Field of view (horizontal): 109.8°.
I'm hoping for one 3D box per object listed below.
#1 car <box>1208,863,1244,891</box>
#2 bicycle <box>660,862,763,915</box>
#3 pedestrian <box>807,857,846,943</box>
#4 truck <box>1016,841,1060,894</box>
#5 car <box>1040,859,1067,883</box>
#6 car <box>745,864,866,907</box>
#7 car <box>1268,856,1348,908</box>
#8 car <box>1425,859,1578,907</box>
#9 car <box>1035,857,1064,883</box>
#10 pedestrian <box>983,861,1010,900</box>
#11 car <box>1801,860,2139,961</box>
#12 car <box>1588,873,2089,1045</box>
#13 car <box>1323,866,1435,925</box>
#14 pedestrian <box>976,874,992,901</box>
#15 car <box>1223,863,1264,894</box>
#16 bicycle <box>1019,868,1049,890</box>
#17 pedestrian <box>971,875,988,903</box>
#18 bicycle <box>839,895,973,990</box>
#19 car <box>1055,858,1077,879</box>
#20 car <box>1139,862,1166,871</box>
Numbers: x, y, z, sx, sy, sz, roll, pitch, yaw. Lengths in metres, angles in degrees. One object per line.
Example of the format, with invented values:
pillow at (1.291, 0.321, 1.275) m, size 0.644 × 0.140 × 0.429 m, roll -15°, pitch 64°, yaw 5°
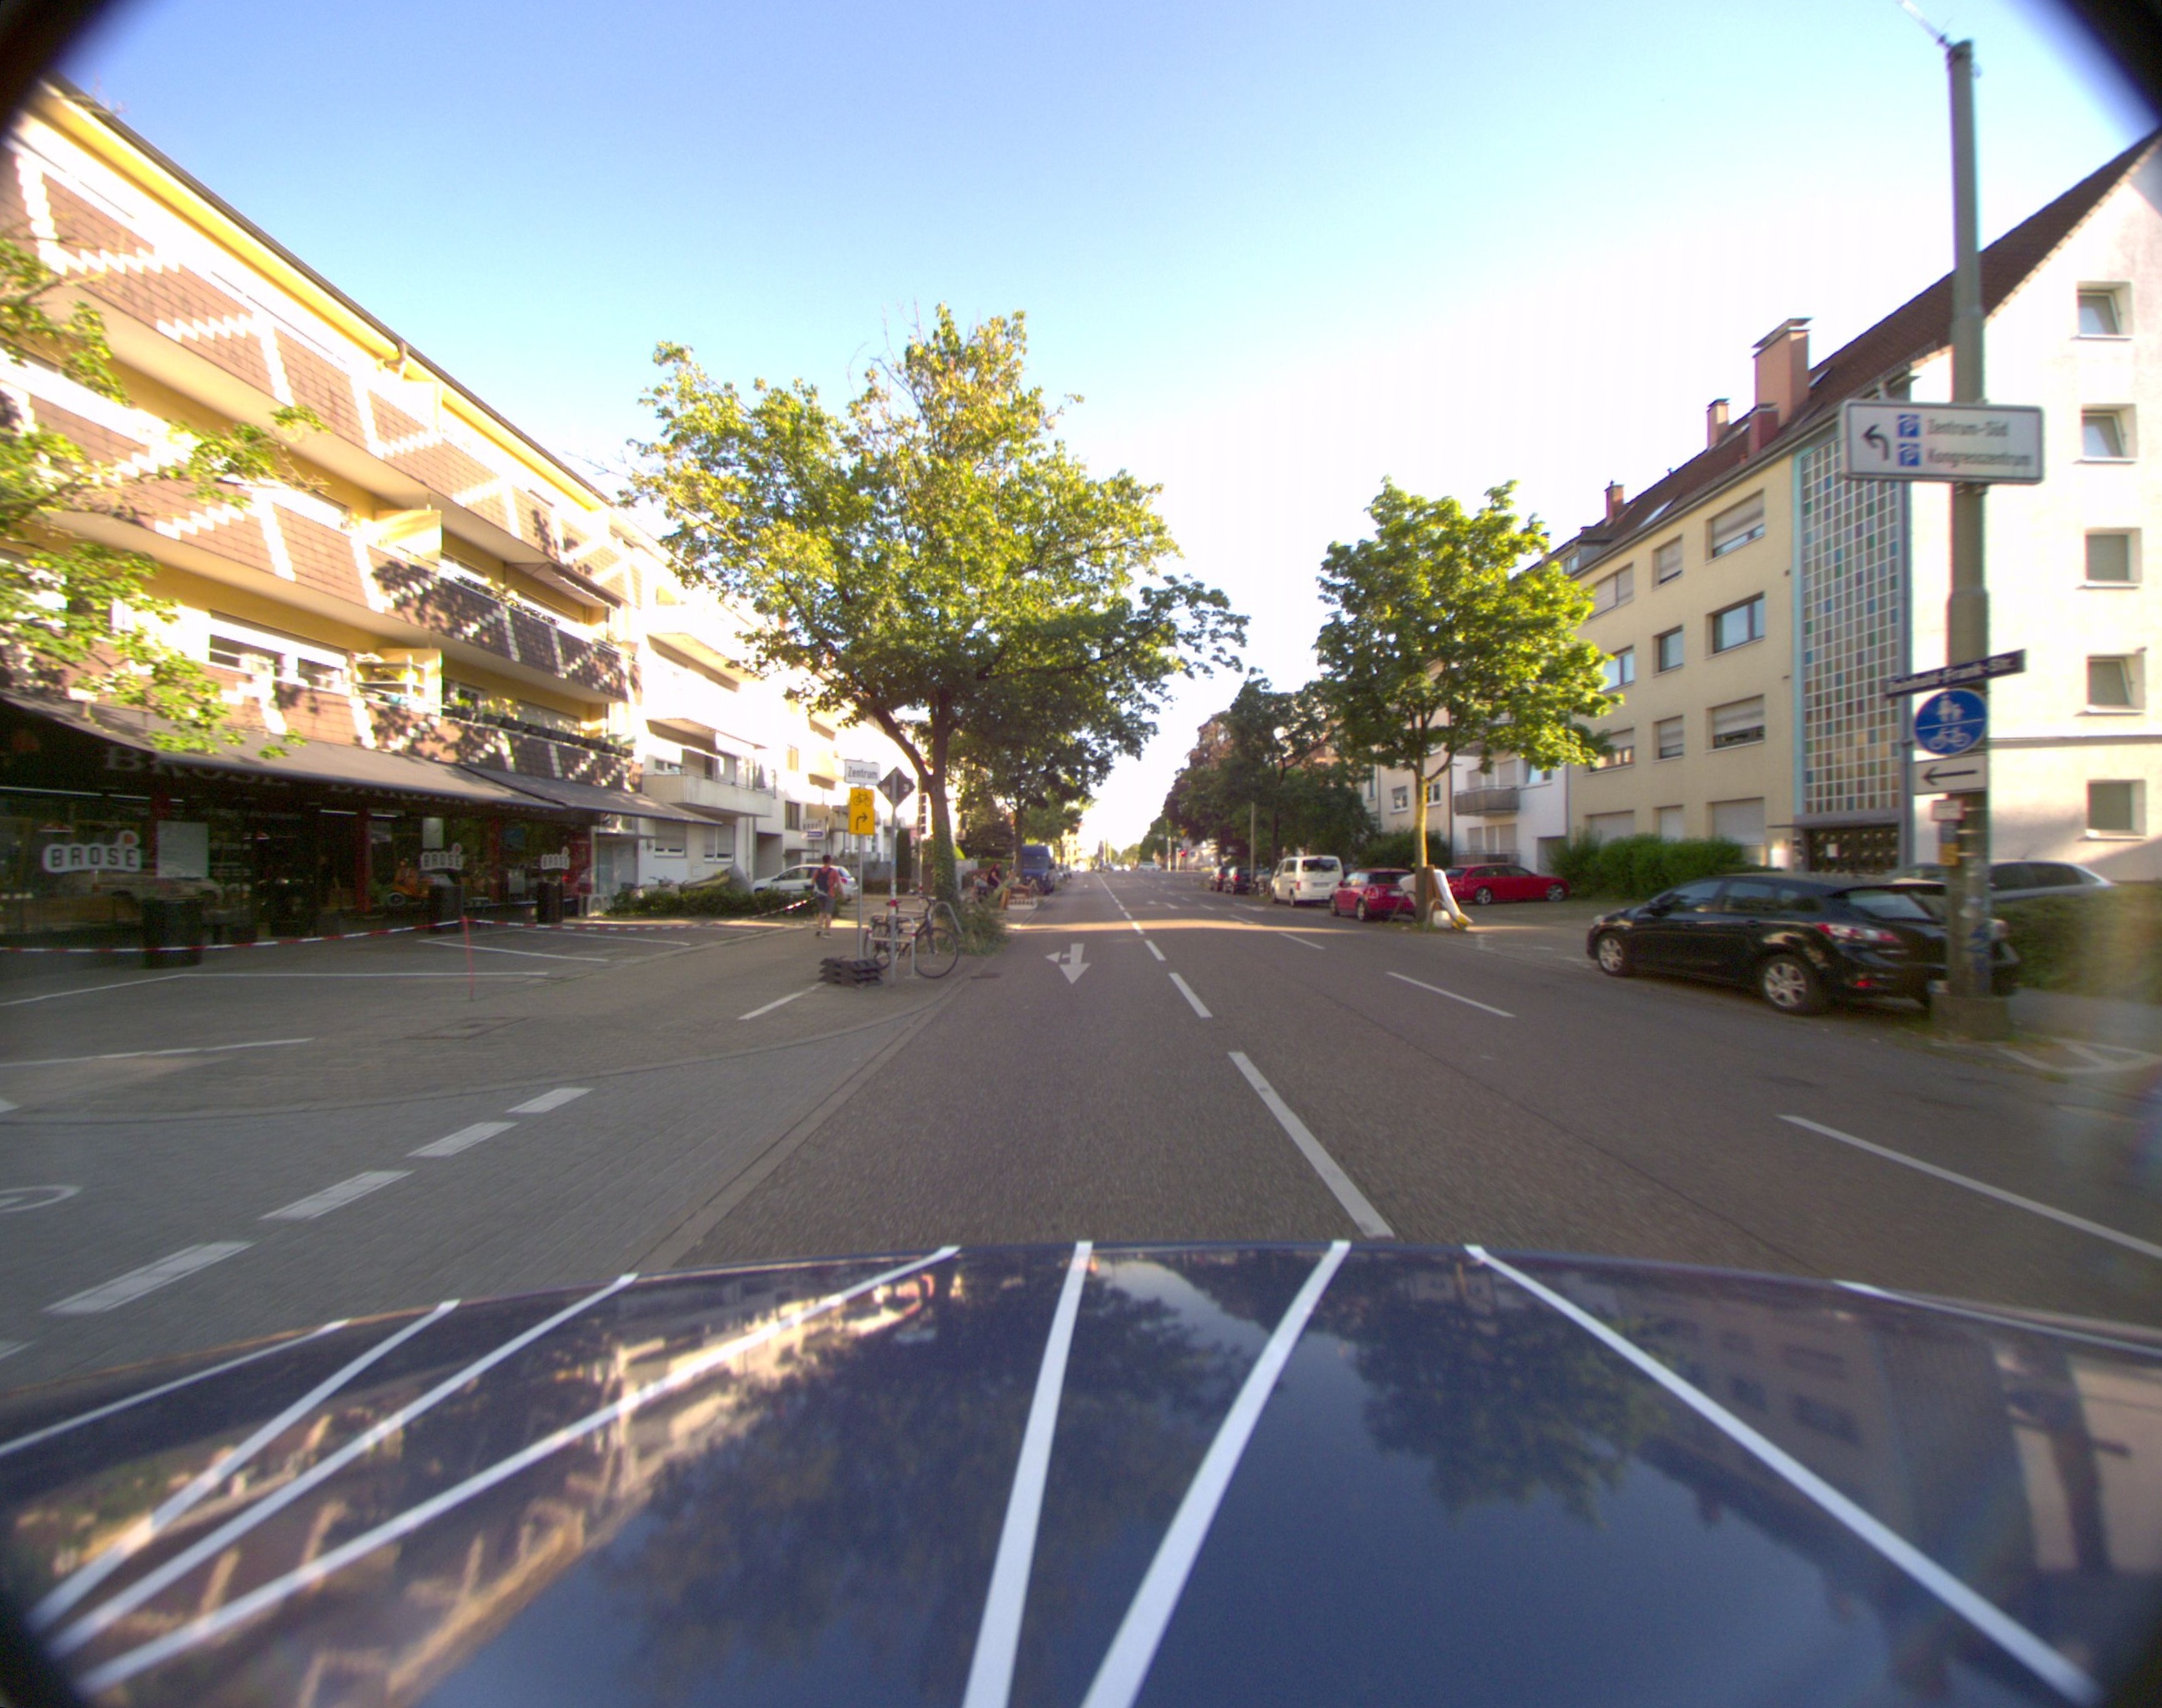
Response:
car at (8.264, 1.269, 43.613) m, size 1.407 × 1.456 × 3.683 m, roll -2°, pitch 0°, yaw 2°
bicycle at (-10.557, 0.973, 21.767) m, size 2.459 × 1.433 × 0.928 m, roll -1°, pitch 0°, yaw -1°
pedestrian at (-5.305, 0.954, 15.869) m, size 0.619 × 1.761 × 0.562 m, roll 0°, pitch -1°, yaw 1°
truck at (-2.227, 0.685, 40.754) m, size 1.998 × 2.629 × 5.616 m, roll -1°, pitch 0°, yaw 1°
car at (-2.020, 1.235, 56.982) m, size 1.704 × 1.739 × 4.000 m, roll 0°, pitch 0°, yaw 2°
car at (-10.054, 1.137, 27.904) m, size 3.878 × 1.496 × 1.575 m, roll 0°, pitch 0°, yaw -4°
car at (8.345, 0.980, 28.319) m, size 1.740 × 1.799 × 4.192 m, roll -1°, pitch 0°, yaw 1°
car at (14.667, 0.967, 26.579) m, size 4.563 × 1.397 × 1.740 m, roll -2°, pitch 0°, yaw -9°
car at (-2.144, 1.082, 52.400) m, size 1.704 × 1.739 × 4.000 m, roll 0°, pitch 0°, yaw 2°
pedestrian at (-3.118, 0.977, 28.153) m, size 0.917 × 1.435 × 0.811 m, roll -1°, pitch 0°, yaw -1°
car at (14.289, 0.864, 12.384) m, size 3.467 × 1.515 × 1.686 m, roll -1°, pitch 0°, yaw 2°
car at (8.145, 0.996, 8.833) m, size 1.862 × 1.477 × 4.000 m, roll 0°, pitch 0°, yaw 1°
car at (8.250, 1.101, 21.375) m, size 1.740 × 1.455 × 3.636 m, roll -1°, pitch 0°, yaw 1°
pedestrian at (-3.925, 1.344, 30.633) m, size 0.553 × 1.053 × 0.542 m, roll -1°, pitch 0°, yaw 1°
car at (8.377, 1.244, 39.469) m, size 1.407 × 1.397 × 3.683 m, roll -2°, pitch 0°, yaw 2°
bicycle at (-2.331, 1.220, 37.642) m, size 1.469 × 1.058 × 0.445 m, roll 0°, pitch 0°, yaw 1°
pedestrian at (-3.918, 1.336, 29.383) m, size 0.553 × 1.053 × 0.532 m, roll -1°, pitch 0°, yaw 2°
bicycle at (-2.508, 1.218, 10.816) m, size 1.894 × 1.155 × 0.616 m, roll 1°, pitch 1°, yaw 28°
car at (-1.292, 1.275, 66.781) m, size 1.704 × 1.739 × 4.000 m, roll 0°, pitch 0°, yaw 2°
car at (12.143, 2.103, 129.284) m, size 3.988 × 1.575 × 2.004 m, roll -1°, pitch 0°, yaw 38°
